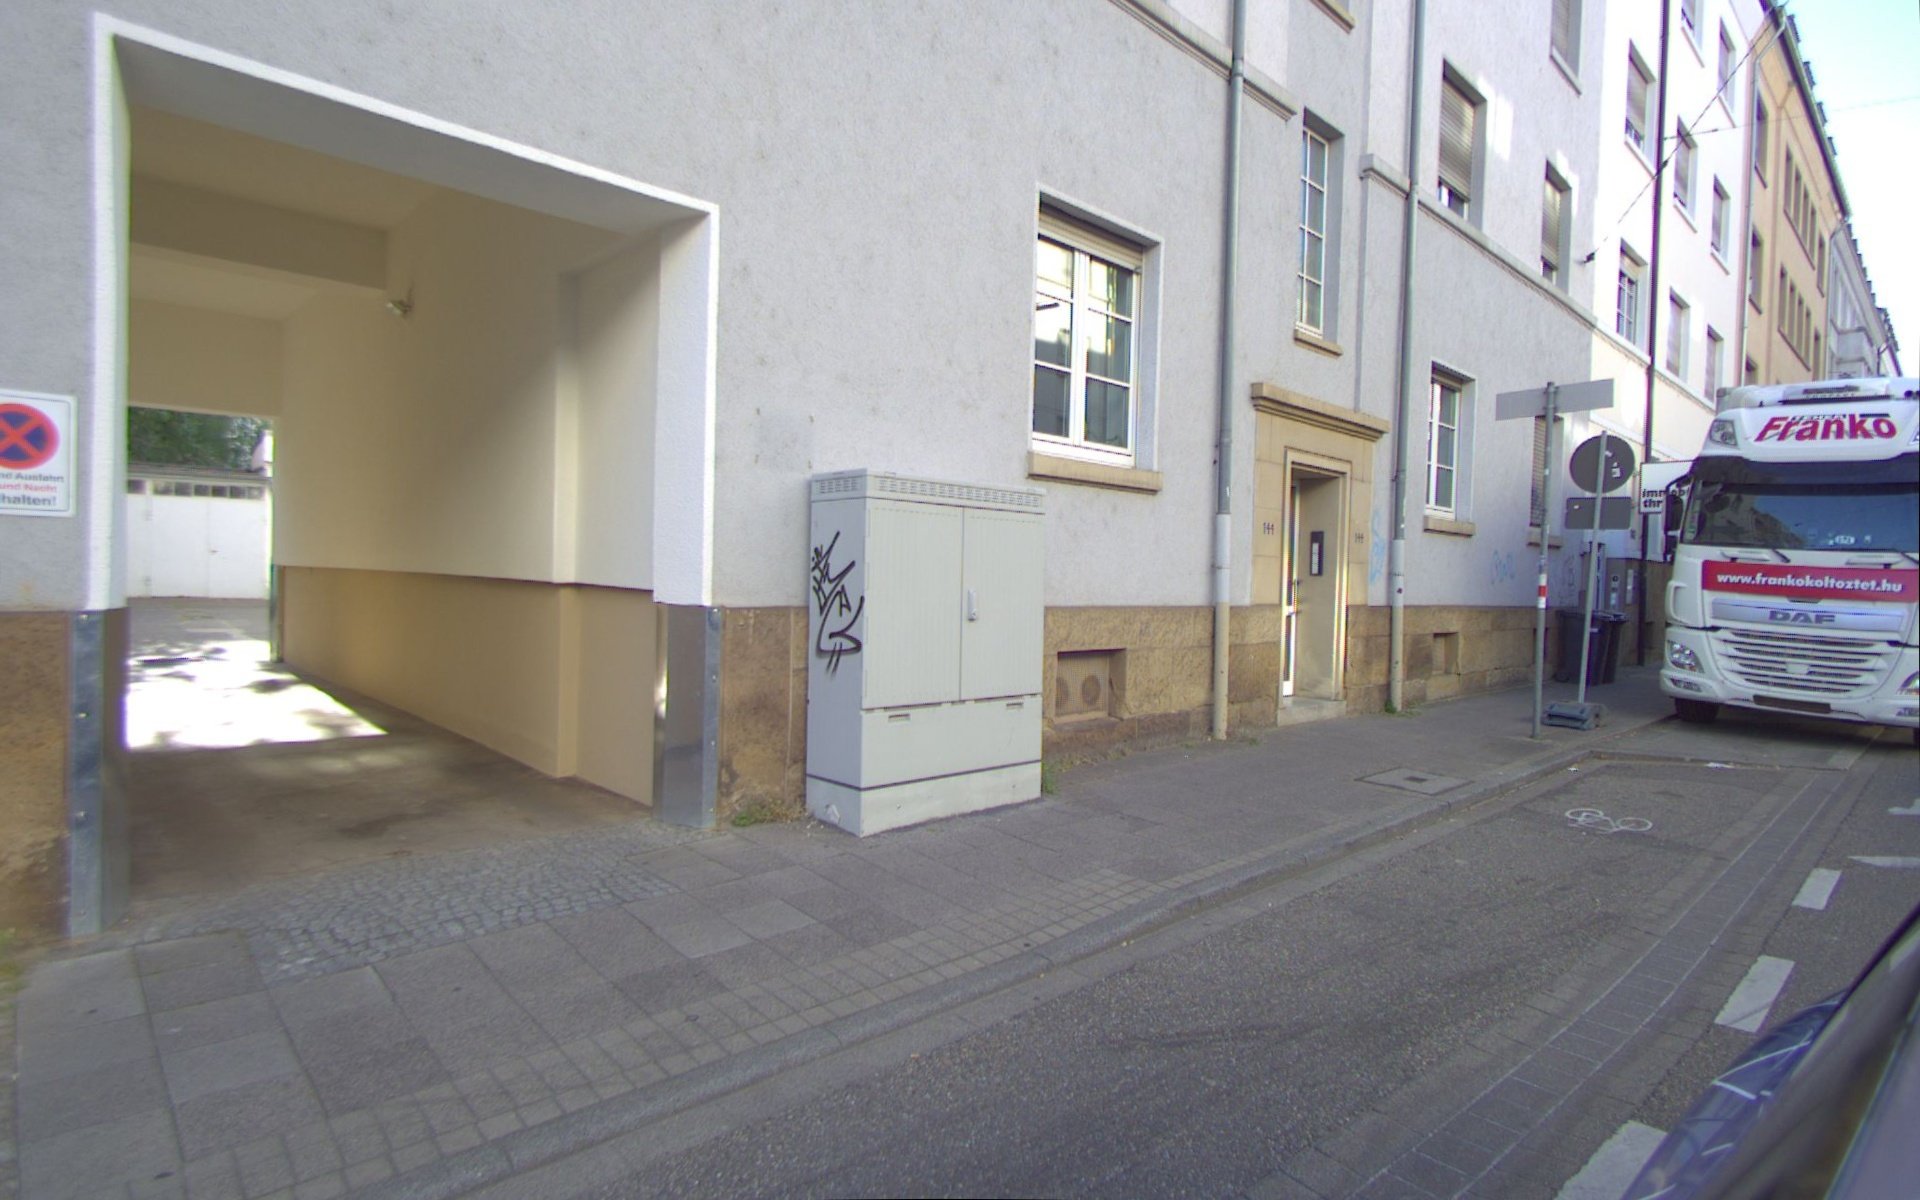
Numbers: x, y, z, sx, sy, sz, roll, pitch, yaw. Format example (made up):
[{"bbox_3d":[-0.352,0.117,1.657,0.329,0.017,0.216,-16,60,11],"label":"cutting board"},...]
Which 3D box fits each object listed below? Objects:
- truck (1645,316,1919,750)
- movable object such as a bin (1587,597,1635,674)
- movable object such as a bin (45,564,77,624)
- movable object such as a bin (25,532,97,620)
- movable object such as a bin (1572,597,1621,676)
[{"bbox_3d":[12.546,-0.612,13.858,11.511,4.012,2.894,0,0,-44],"label":"truck"},{"bbox_3d":[9.596,0.511,14.918,0.511,1.106,0.488,0,0,45],"label":"movable object such as a bin"},{"bbox_3d":[-14.375,-0.101,16.185,0.366,0.919,0.420,0,3,-44],"label":"movable object such as a bin"},{"bbox_3d":[-14.909,-0.405,16.789,0.874,1.409,0.758,0,4,-44],"label":"movable object such as a bin"},{"bbox_3d":[9.171,0.513,14.581,0.511,1.106,0.488,0,0,45],"label":"movable object such as a bin"}]
